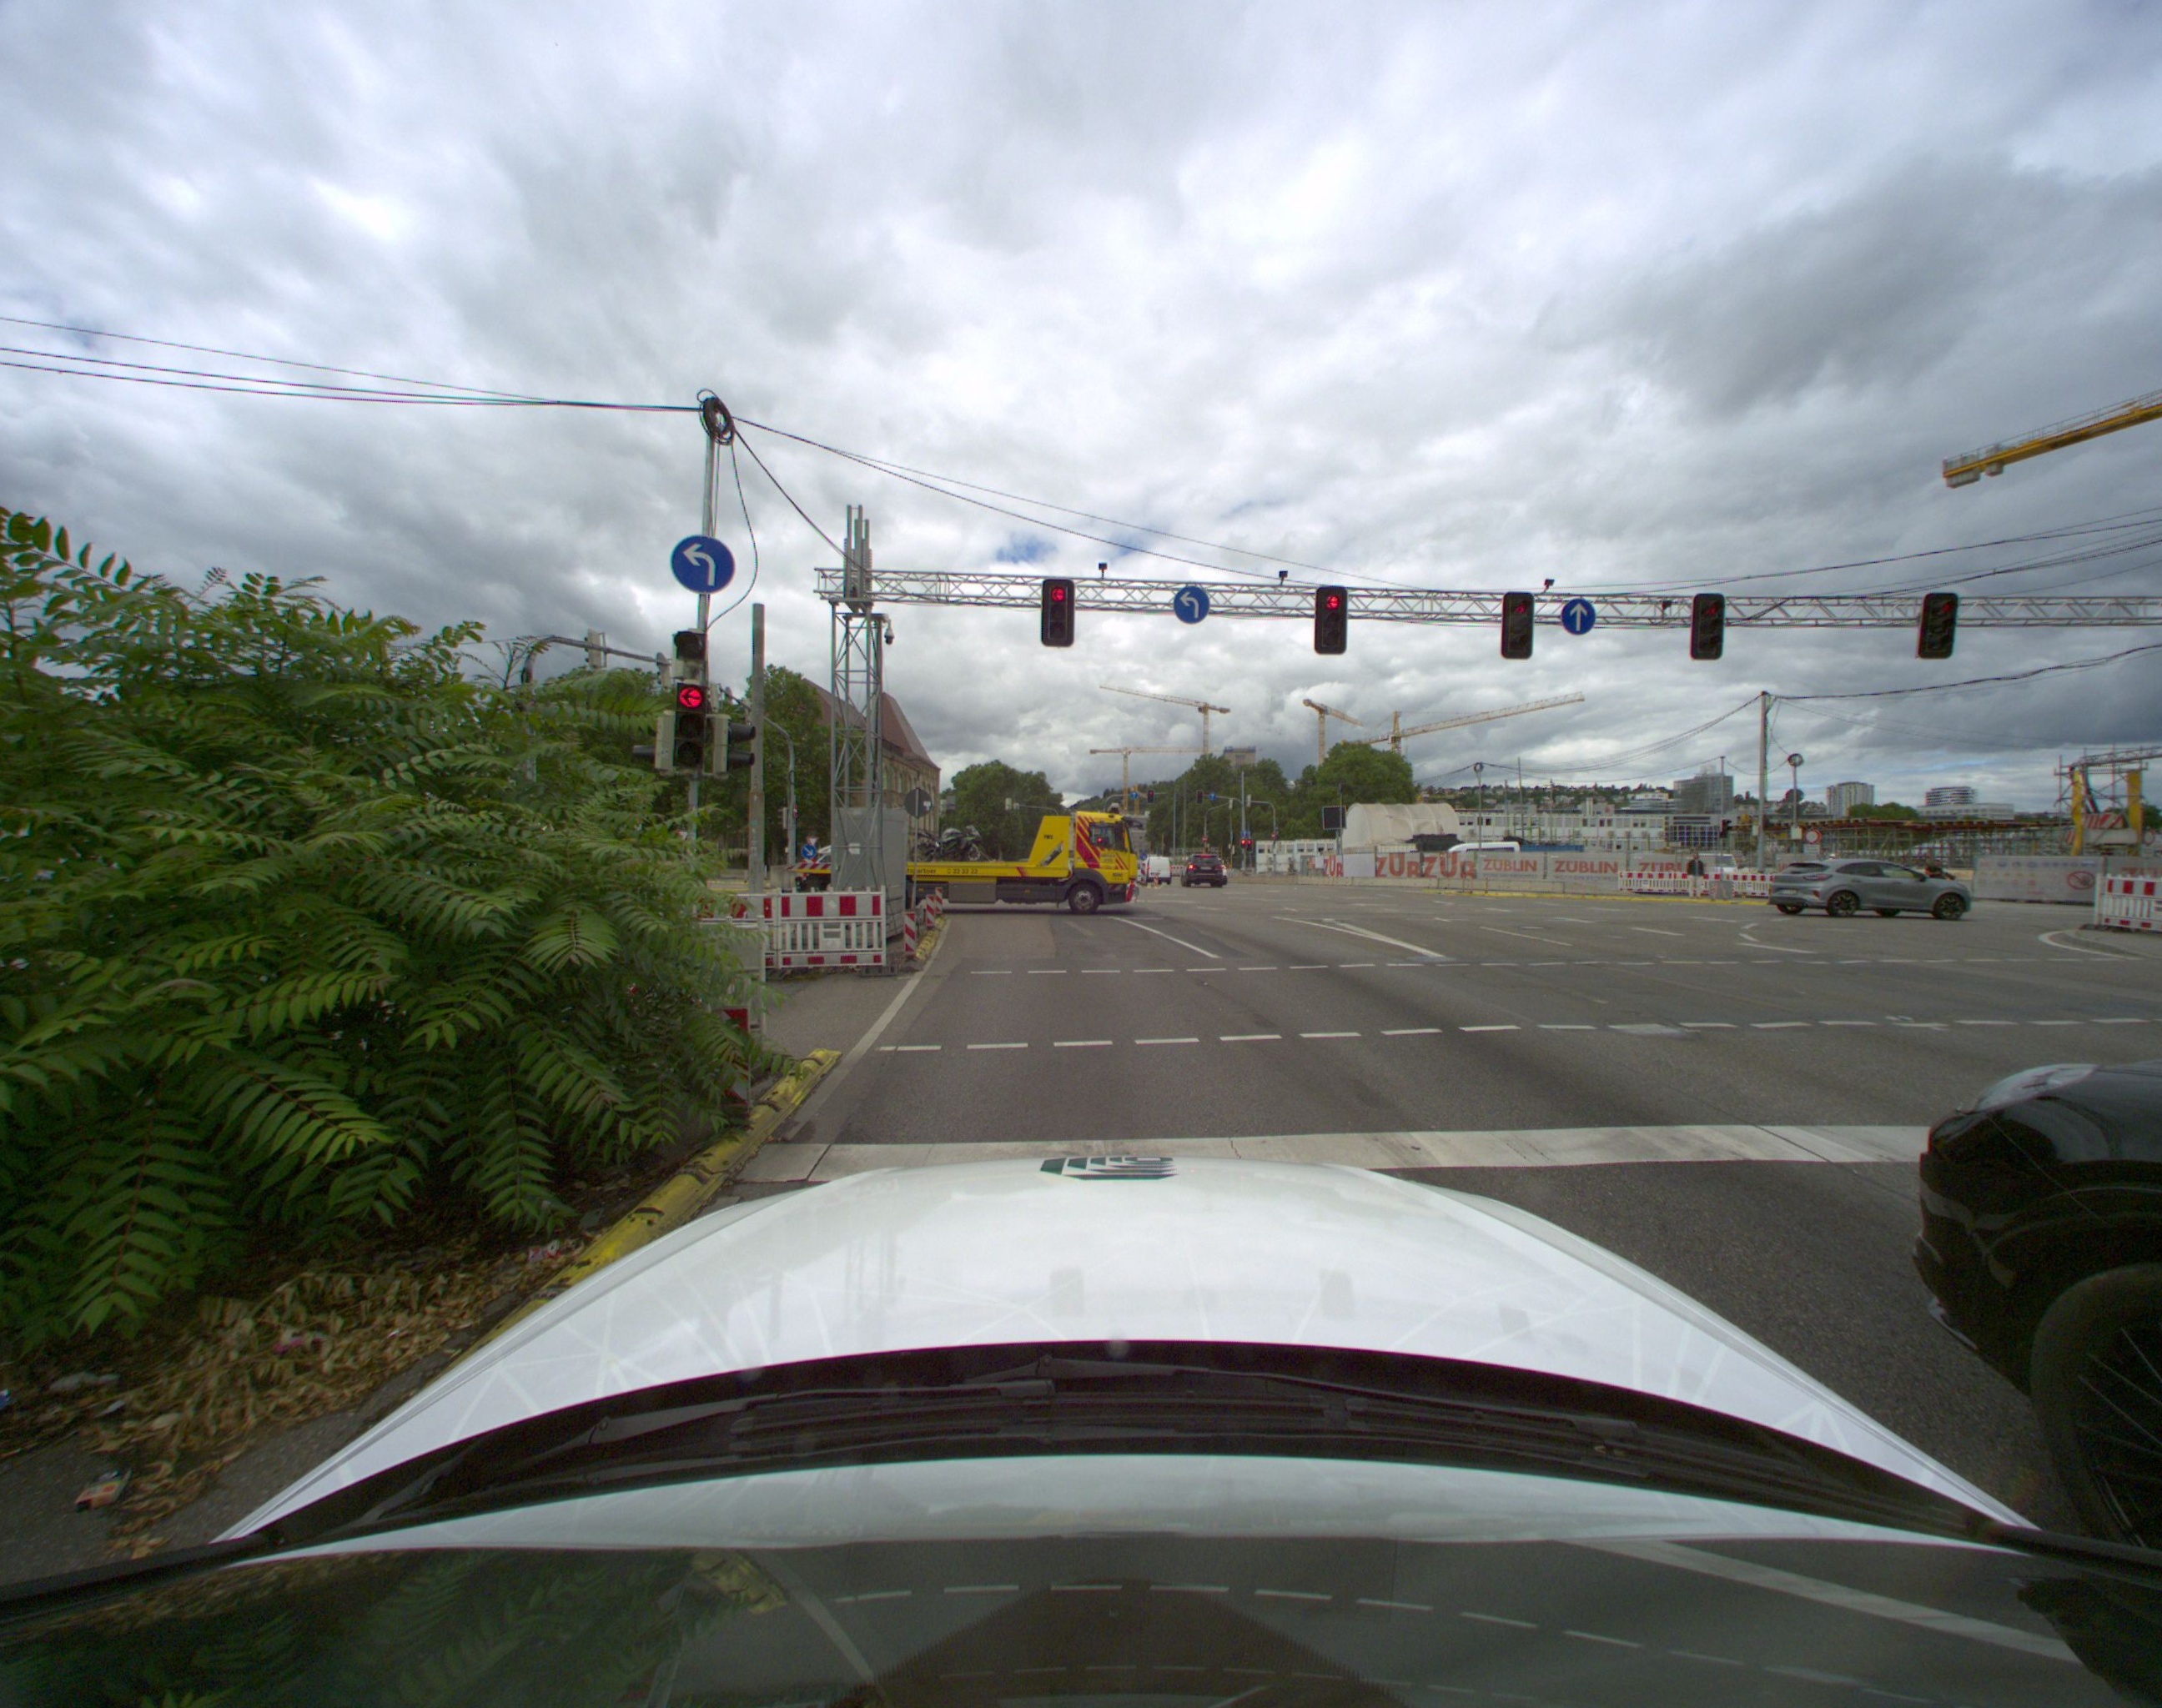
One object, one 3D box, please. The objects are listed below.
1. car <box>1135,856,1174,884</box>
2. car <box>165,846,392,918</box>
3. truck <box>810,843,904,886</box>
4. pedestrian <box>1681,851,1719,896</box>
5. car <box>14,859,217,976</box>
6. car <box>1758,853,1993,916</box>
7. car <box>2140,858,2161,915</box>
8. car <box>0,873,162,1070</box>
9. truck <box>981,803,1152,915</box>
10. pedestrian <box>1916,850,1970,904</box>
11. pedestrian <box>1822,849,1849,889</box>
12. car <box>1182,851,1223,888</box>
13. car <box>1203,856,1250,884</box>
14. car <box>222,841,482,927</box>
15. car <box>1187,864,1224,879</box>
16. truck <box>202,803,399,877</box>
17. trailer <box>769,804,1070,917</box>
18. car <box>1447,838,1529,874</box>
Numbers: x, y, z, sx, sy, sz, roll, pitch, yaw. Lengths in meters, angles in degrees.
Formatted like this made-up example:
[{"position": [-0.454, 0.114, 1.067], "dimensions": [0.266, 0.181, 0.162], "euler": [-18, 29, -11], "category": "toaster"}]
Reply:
[{"position": [4.857, 1.054, 54.713], "dimensions": [1.860, 1.833, 4.714], "euler": [0, -1, -4], "category": "car"}, {"position": [-20.281, 0.689, 20.709], "dimensions": [3.969, 1.740, 1.912], "euler": [0, -1, 3], "category": "car"}, {"position": [-16.798, 0.743, 61.107], "dimensions": [6.607, 3.146, 2.350], "euler": [0, -1, -22], "category": "truck"}, {"position": [25.754, 0.812, 33.897], "dimensions": [1.035, 1.848, 0.794], "euler": [-1, -1, 17], "category": "pedestrian"}, {"position": [-15.670, 0.899, 13.196], "dimensions": [3.948, 1.608, 1.922], "euler": [-1, -1, 38], "category": "car"}, {"position": [20.797, 0.767, 21.458], "dimensions": [4.281, 1.540, 1.999], "euler": [0, -1, -1], "category": "car"}, {"position": [34.841, 0.957, 23.858], "dimensions": [4.647, 1.702, 2.003], "euler": [0, -1, 5], "category": "car"}, {"position": [-10.362, 1.052, 6.827], "dimensions": [1.834, 1.706, 3.972], "euler": [0, -1, -20], "category": "car"}, {"position": [-0.336, 0.124, 21.480], "dimensions": [4.191, 2.725, 2.862], "euler": [0, -1, 0], "category": "truck"}, {"position": [32.608, 0.856, 30.834], "dimensions": [1.022, 2.014, 1.051], "euler": [-1, -1, 20], "category": "pedestrian"}, {"position": [38.308, 0.749, 41.357], "dimensions": [0.673, 2.014, 0.869], "euler": [-1, -1, 14], "category": "pedestrian"}, {"position": [6.433, 0.810, 43.521], "dimensions": [1.984, 1.834, 4.263], "euler": [0, -1, 5], "category": "car"}, {"position": [9.481, 1.028, 53.384], "dimensions": [1.989, 1.759, 4.499], "euler": [0, -1, -4], "category": "car"}, {"position": [-15.605, 0.631, 17.579], "dimensions": [3.969, 1.740, 1.912], "euler": [0, -1, 3], "category": "car"}, {"position": [14.005, 1.976, 91.598], "dimensions": [3.959, 1.728, 2.007], "euler": [-1, -1, 13], "category": "car"}, {"position": [-54.124, -0.939, 56.758], "dimensions": [9.716, 4.961, 3.103], "euler": [0, -1, -10], "category": "truck"}, {"position": [-3.965, 0.161, 21.398], "dimensions": [7.328, 2.725, 2.861], "euler": [0, -1, -2], "category": "trailer"}, {"position": [23.472, 0.125, 47.099], "dimensions": [3.955, 2.014, 2.009], "euler": [-1, -1, 17], "category": "car"}]
